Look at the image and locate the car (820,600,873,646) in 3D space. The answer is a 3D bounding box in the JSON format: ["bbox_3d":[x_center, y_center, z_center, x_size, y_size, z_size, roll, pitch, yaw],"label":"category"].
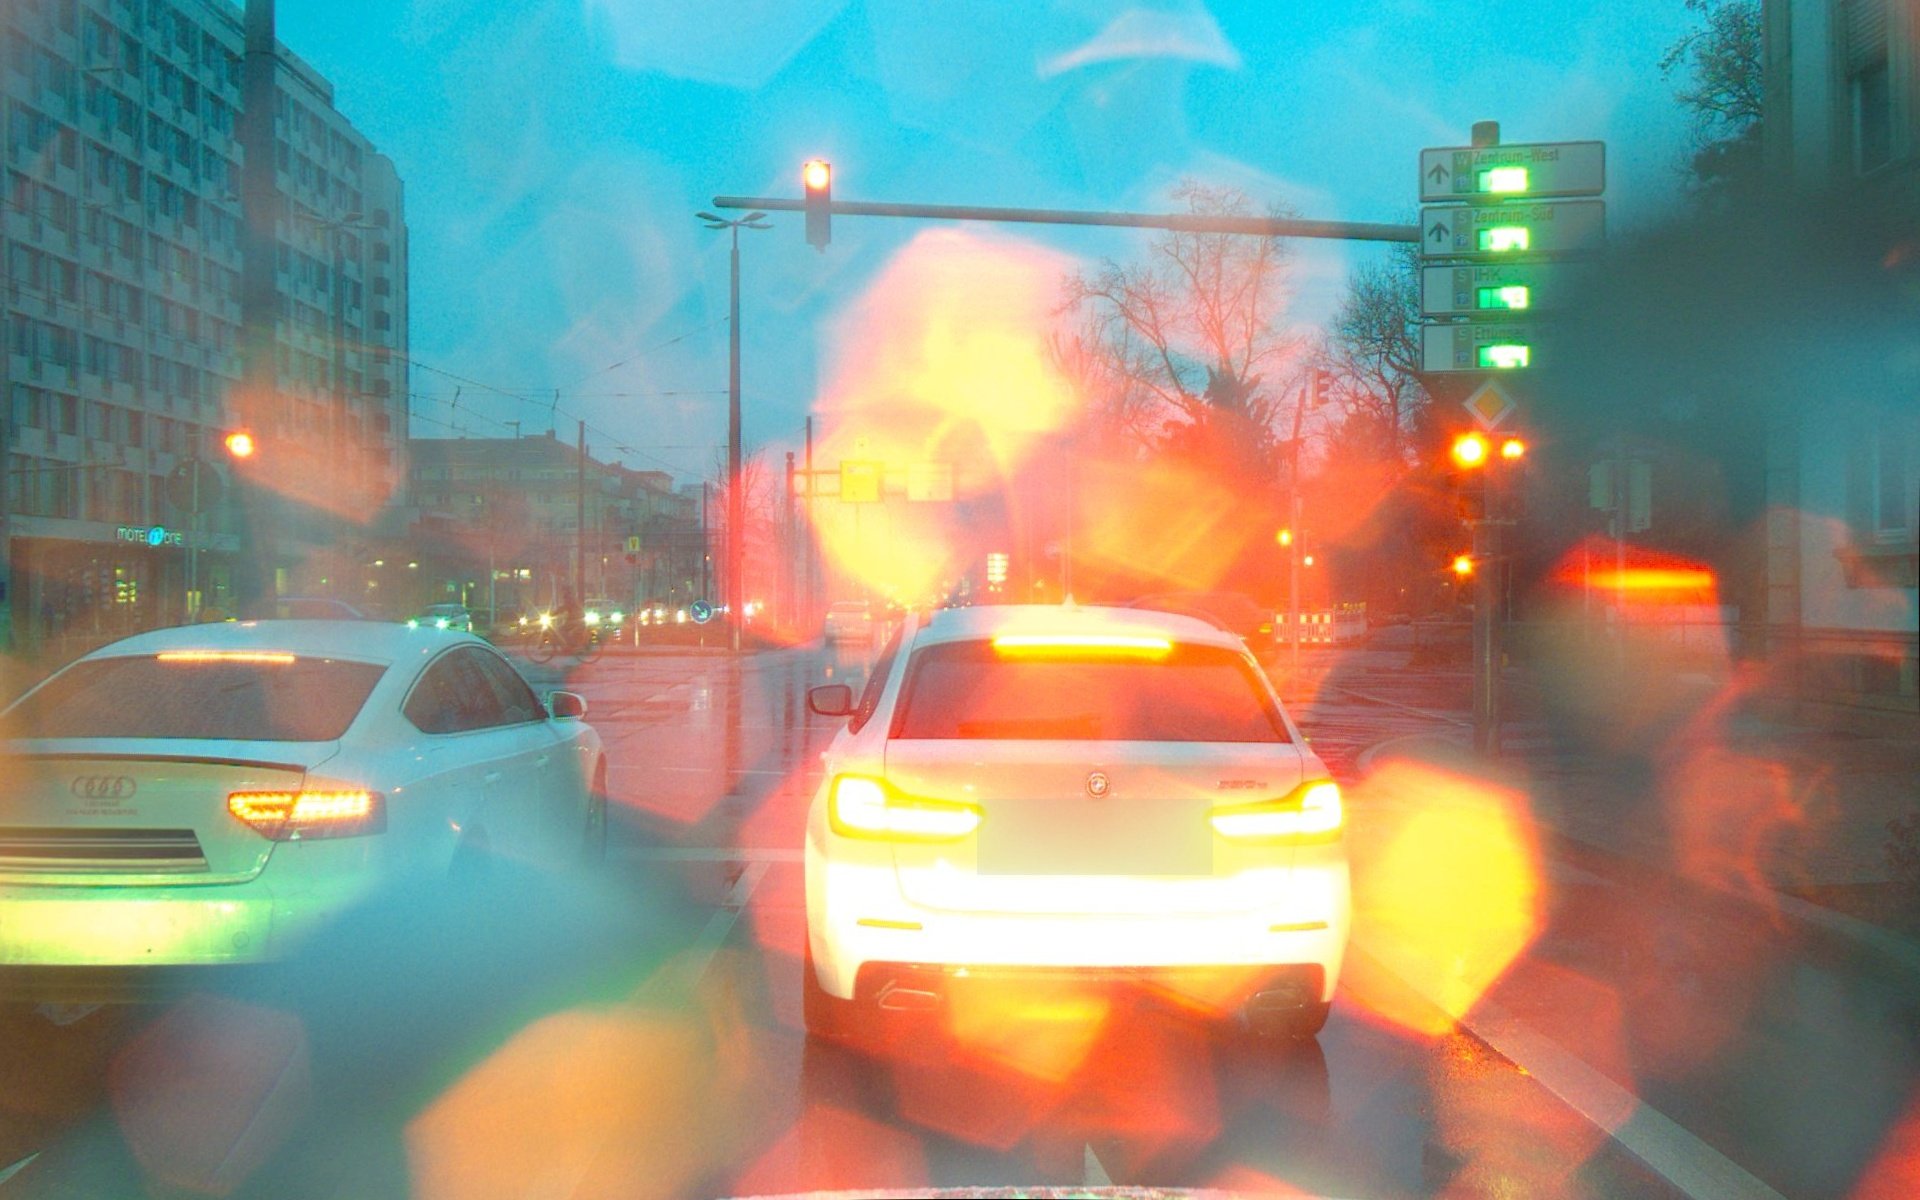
[{"bbox_3d":[-4.170,0.844,60.127,1.710,1.581,3.962,2,-1,-7],"label":"car"}]

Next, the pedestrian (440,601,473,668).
[{"bbox_3d":[-13.419,0.921,44.119,0.777,1.741,0.809,2,-1,-16],"label":"pedestrian"}]

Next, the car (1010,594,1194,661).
[{"bbox_3d":[3.285,0.632,38.473,3.918,1.426,1.751,1,-1,35],"label":"car"}]

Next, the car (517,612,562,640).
[{"bbox_3d":[-24.275,1.486,95.598,1.641,1.534,3.695,1,-1,-1],"label":"car"}]

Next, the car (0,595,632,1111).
[{"bbox_3d":[-2.706,0.728,6.973,1.954,1.481,4.366,0,0,-3],"label":"car"}]

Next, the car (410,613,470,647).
[{"bbox_3d":[-24.062,1.379,76.659,1.641,1.534,3.695,1,-1,-1],"label":"car"}]

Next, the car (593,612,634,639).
[{"bbox_3d":[-20.567,1.511,98.259,1.641,1.534,3.695,1,-1,-1],"label":"car"}]

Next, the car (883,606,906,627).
[{"bbox_3d":[-5.258,1.313,132.641,1.806,1.637,3.943,1,-1,-2],"label":"car"}]

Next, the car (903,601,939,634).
[{"bbox_3d":[-2.098,0.935,88.306,1.806,1.637,3.943,1,-1,-2],"label":"car"}]

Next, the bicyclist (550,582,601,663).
[{"bbox_3d":[-8.660,0.514,37.266,0.953,1.789,0.812,1,-1,-6],"label":"bicyclist"}]

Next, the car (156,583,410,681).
[{"bbox_3d":[-12.241,0.586,30.132,3.912,1.651,1.716,2,-1,-9],"label":"car"}]

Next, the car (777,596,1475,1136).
[{"bbox_3d":[0.375,0.737,6.802,1.954,1.481,4.366,0,0,-3],"label":"car"}]

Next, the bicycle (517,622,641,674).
[{"bbox_3d":[-8.565,1.077,37.270,2.615,1.108,0.814,2,-1,-6],"label":"bicycle"}]

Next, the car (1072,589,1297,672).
[{"bbox_3d":[4.211,0.554,30.746,4.005,1.466,1.841,0,-1,12],"label":"car"}]
